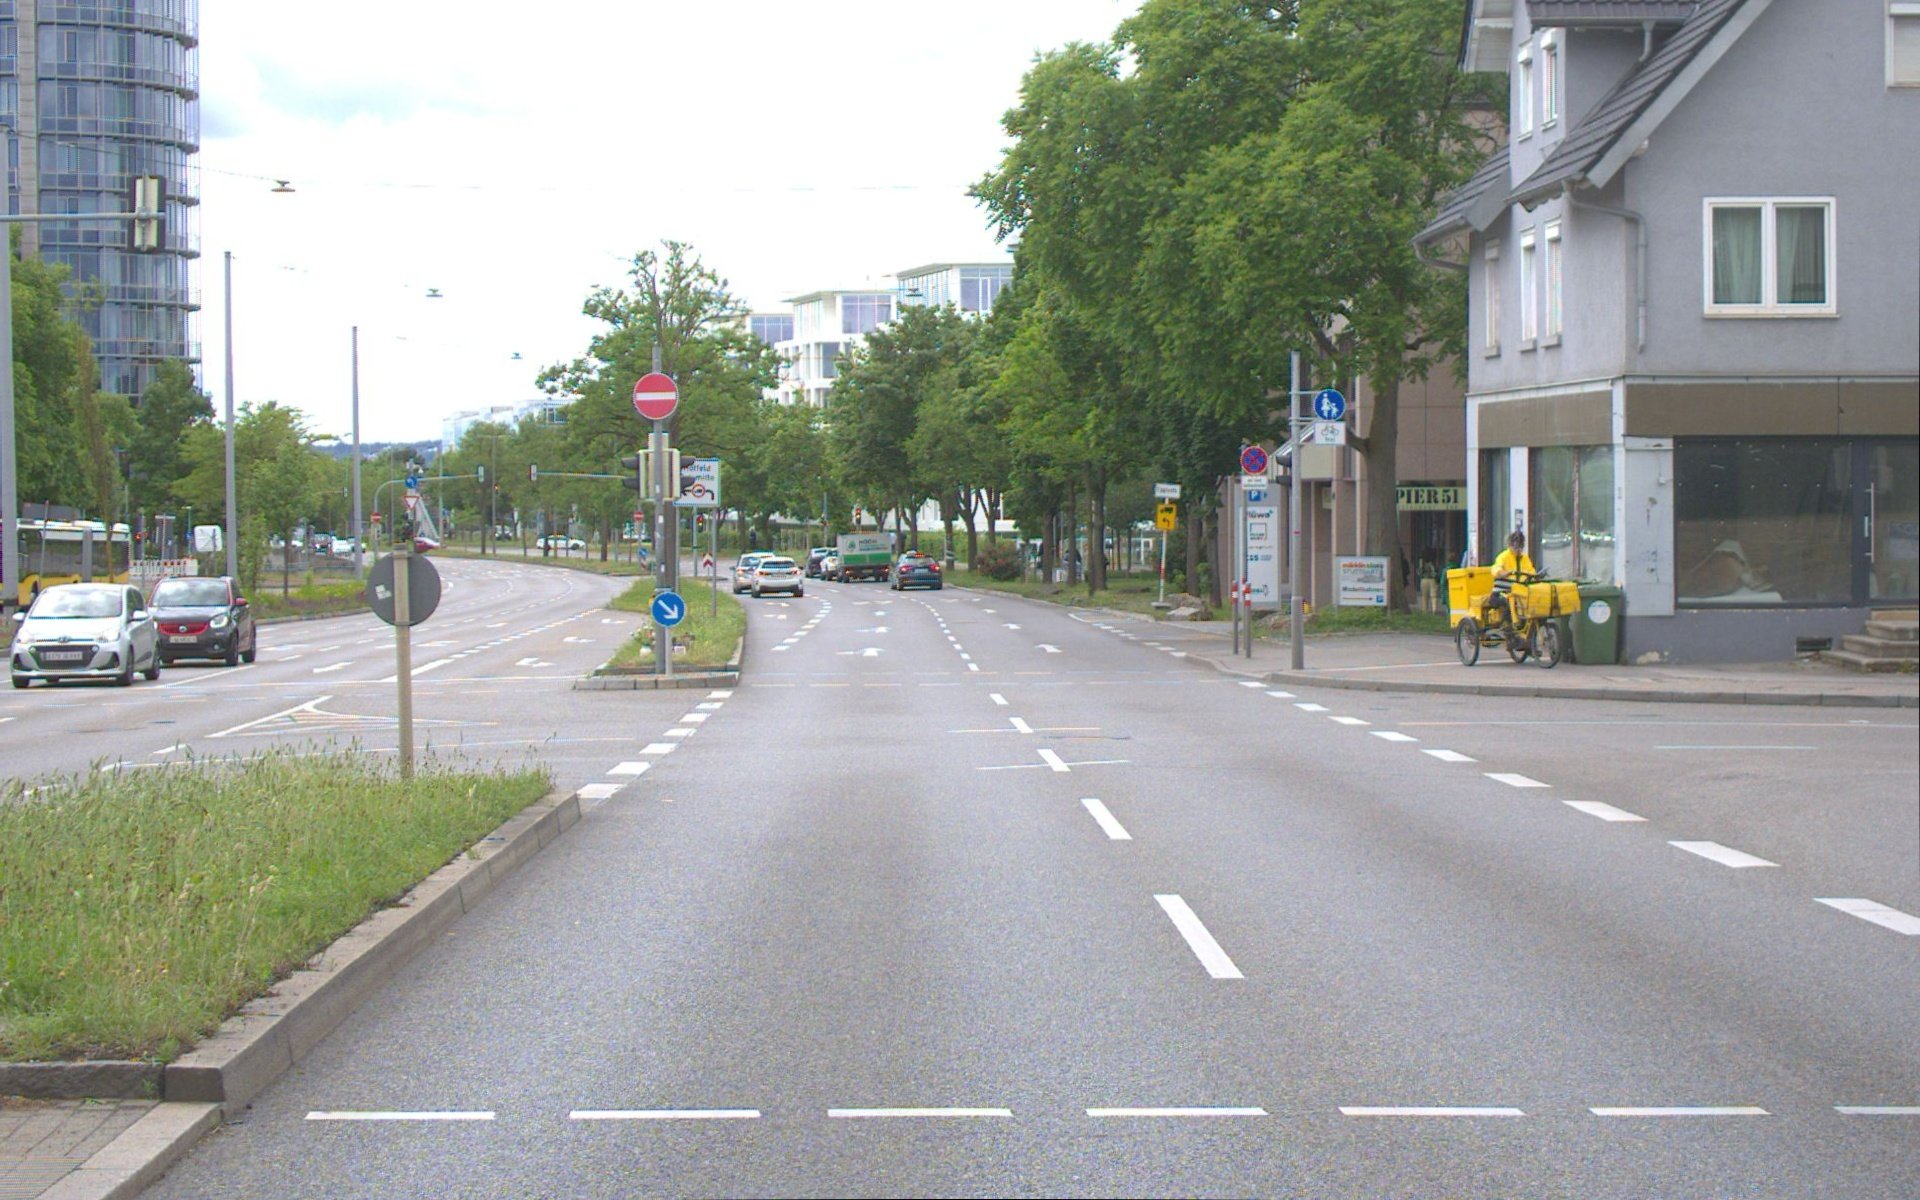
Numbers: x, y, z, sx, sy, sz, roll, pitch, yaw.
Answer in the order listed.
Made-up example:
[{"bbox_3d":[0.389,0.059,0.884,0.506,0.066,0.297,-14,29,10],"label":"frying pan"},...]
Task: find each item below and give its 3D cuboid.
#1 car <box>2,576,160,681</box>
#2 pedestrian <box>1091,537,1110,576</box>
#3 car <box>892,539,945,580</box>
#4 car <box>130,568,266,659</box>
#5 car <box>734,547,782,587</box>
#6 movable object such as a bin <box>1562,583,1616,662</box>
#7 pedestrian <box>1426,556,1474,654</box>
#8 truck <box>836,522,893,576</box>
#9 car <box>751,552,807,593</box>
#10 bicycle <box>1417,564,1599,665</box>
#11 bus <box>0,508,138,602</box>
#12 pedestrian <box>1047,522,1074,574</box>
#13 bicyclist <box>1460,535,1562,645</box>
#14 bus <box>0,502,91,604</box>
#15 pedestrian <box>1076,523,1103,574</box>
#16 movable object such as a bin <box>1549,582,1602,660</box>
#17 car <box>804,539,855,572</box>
[{"bbox_3d":[-12.821,0.386,50.305,1.684,1.457,3.556,-1,1,-5],"label":"car"},{"bbox_3d":[5.648,-1.766,138.416,0.650,1.564,0.671,-1,0,-8],"label":"pedestrian"},{"bbox_3d":[-1.599,-1.594,133.891,1.889,1.489,4.099,1,2,2],"label":"car"},{"bbox_3d":[-13.086,0.213,59.193,1.702,1.487,3.562,-1,1,-3],"label":"car"},{"bbox_3d":[-8.019,-1.304,136.797,1.822,1.535,4.114,-2,0,-2],"label":"car"},{"bbox_3d":[7.946,0.280,43.442,0.529,0.976,0.736,-1,0,-1],"label":"movable object such as a bin"},{"bbox_3d":[9.613,0.104,67.455,0.705,1.774,0.870,6,-5,4],"label":"pedestrian"},{"bbox_3d":[-4.345,-2.295,155.877,2.251,2.408,4.934,0,1,-5],"label":"truck"},{"bbox_3d":[-6.631,-1.019,126.302,1.993,1.472,4.256,-1,0,-2],"label":"car"},{"bbox_3d":[6.839,0.165,43.074,1.074,1.213,2.439,-1,1,-24],"label":"bicycle"},{"bbox_3d":[-31.796,-1.589,122.856,3.144,3.214,7.765,-1,1,-2],"label":"bus"},{"bbox_3d":[3.917,-2.027,133.846,0.971,2.007,0.981,1,0,-1],"label":"pedestrian"},{"bbox_3d":[6.886,-0.124,42.970,1.074,1.352,0.628,-1,0,-25],"label":"bicyclist"},{"bbox_3d":[-31.452,-1.525,113.852,3.144,3.214,10.286,-1,1,-3],"label":"bus"},{"bbox_3d":[5.021,-1.994,133.707,0.971,1.969,0.981,1,0,-1],"label":"pedestrian"},{"bbox_3d":[7.918,0.266,44.233,0.529,0.976,0.736,-1,0,-1],"label":"movable object such as a bin"},{"bbox_3d":[-6.596,-2.241,173.266,2.250,1.641,4.934,-1,1,-6],"label":"car"}]
